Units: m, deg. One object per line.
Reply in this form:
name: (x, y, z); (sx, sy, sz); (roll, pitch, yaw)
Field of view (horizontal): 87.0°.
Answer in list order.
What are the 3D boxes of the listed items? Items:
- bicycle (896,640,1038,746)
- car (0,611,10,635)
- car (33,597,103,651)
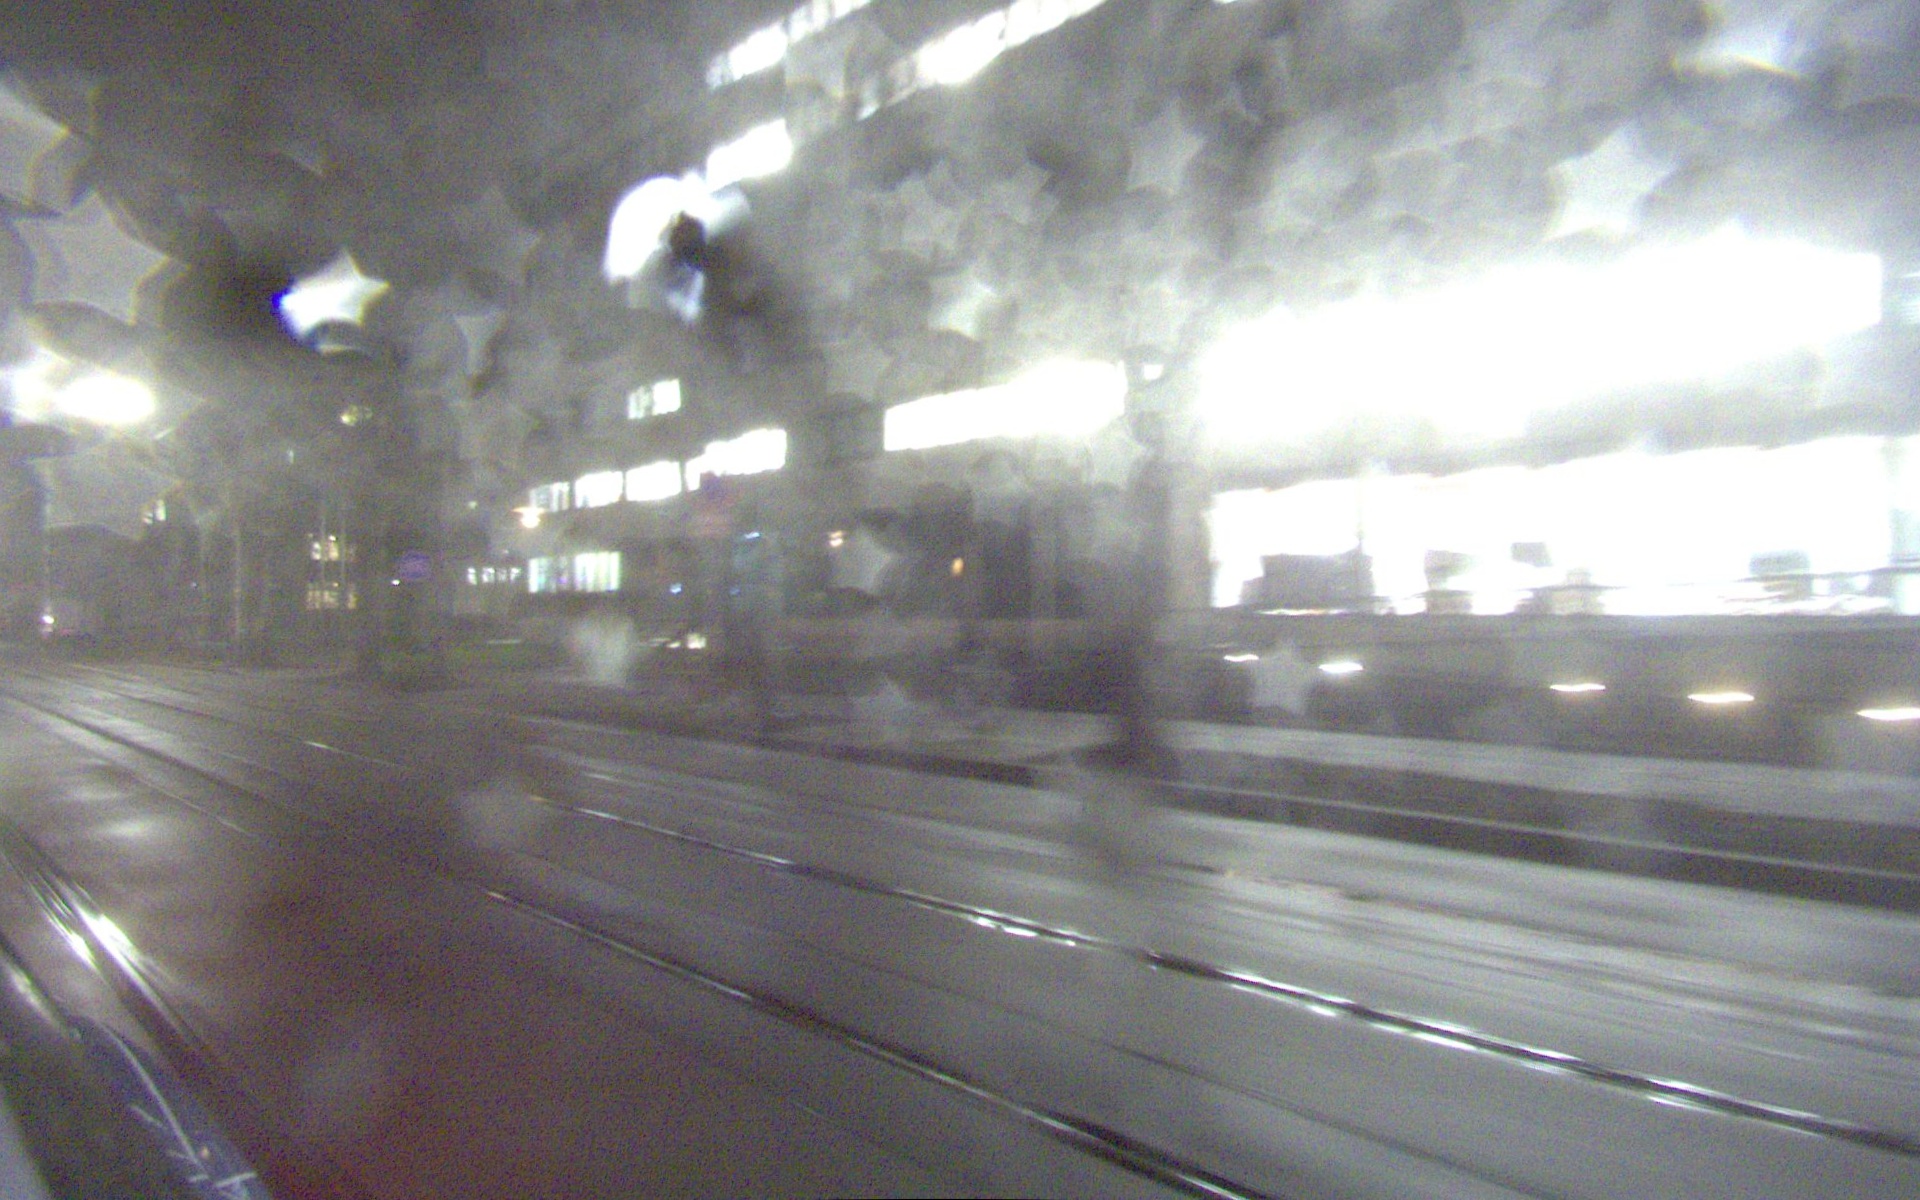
bicycle: (0.117, 1.041, 11.803); (0.627, 1.086, 1.834); (-1, -1, 41)
car: (-69.633, 1.659, 72.486); (4.601, 1.668, 1.948); (-1, 1, 43)
car: (-46.179, 1.258, 52.357); (6.392, 2.611, 2.161); (-2, -2, 44)
